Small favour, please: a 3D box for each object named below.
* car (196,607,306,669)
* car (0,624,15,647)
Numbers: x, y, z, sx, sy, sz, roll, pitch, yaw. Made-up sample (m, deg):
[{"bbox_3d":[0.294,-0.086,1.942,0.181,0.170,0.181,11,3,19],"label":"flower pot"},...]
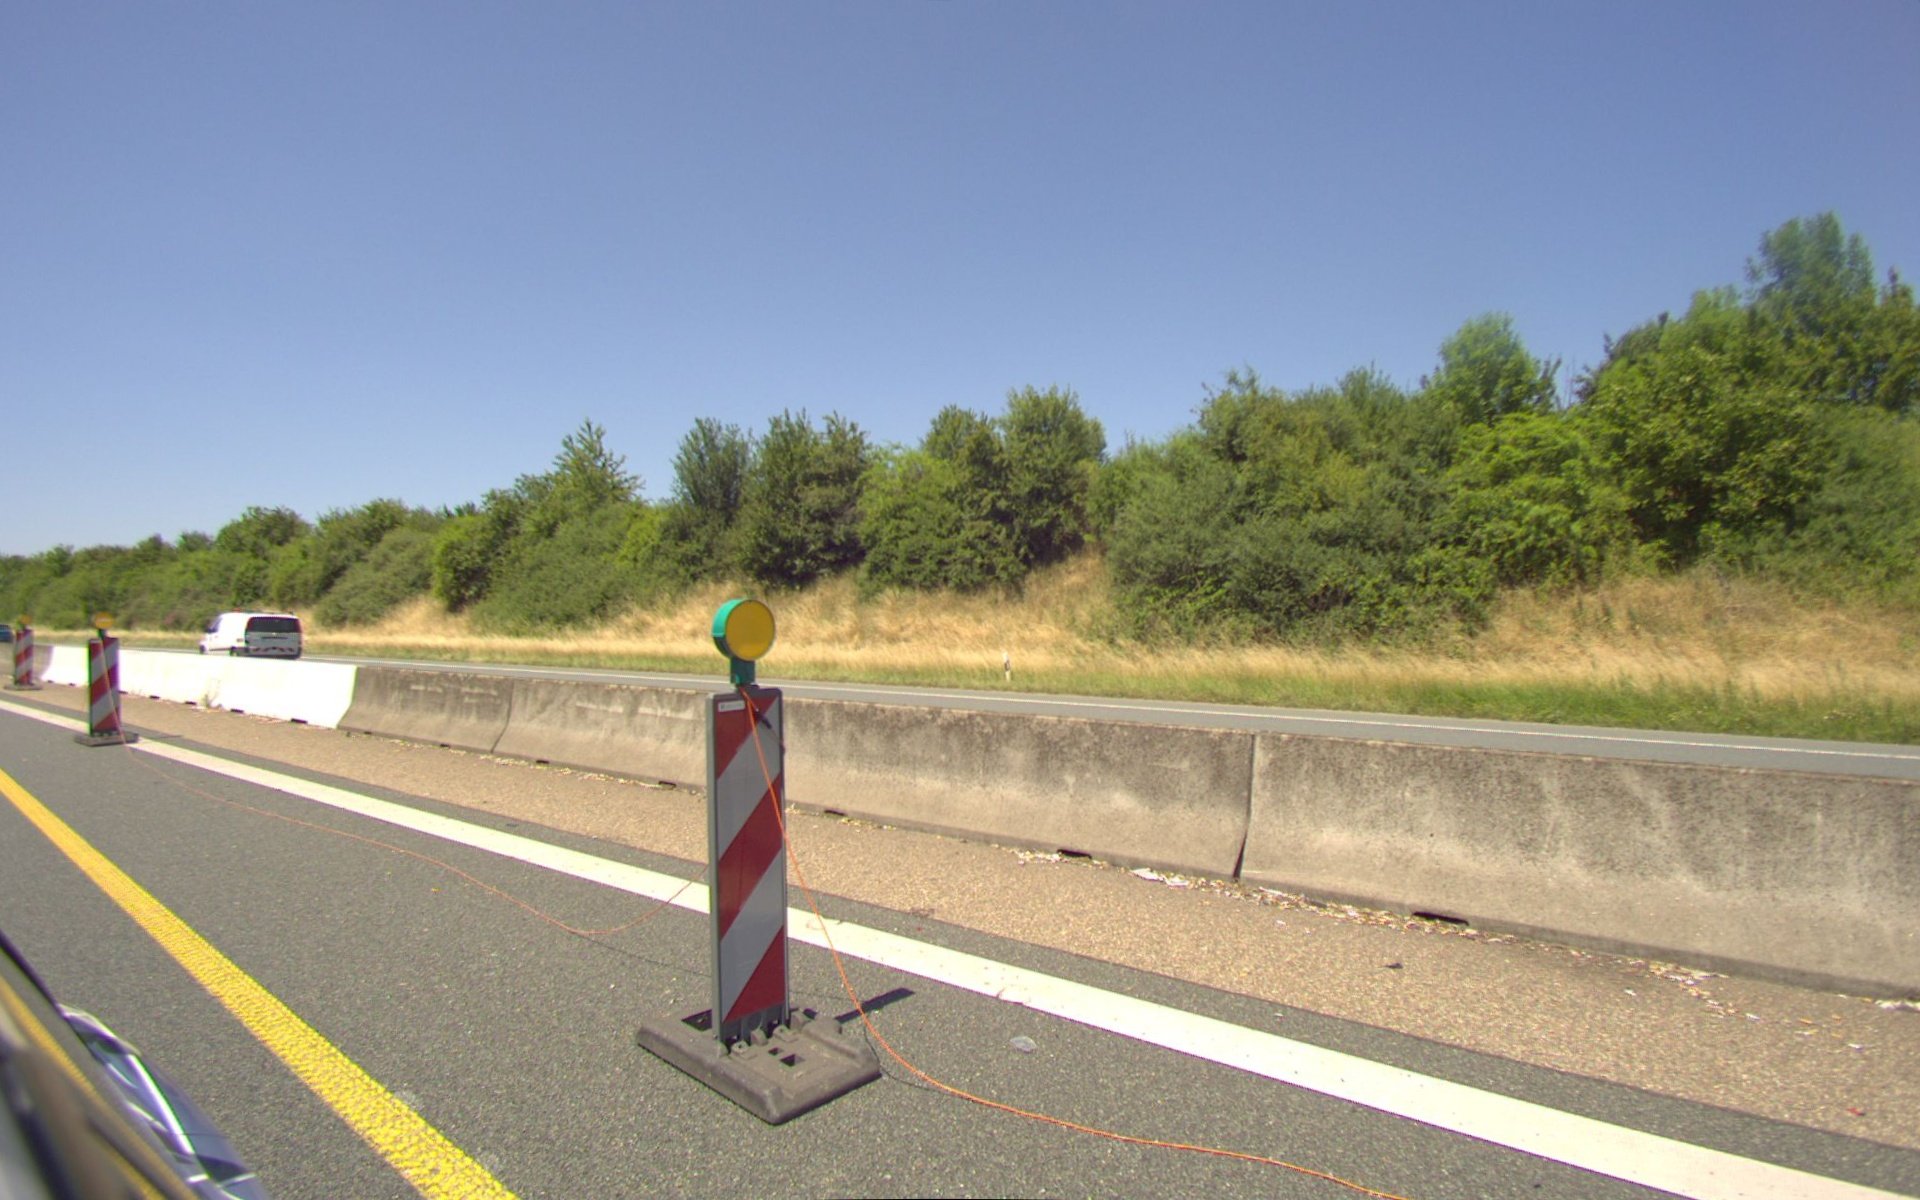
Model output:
[{"bbox_3d":[-25.545,1.324,36.403,4.933,2.101,1.944,-1,-2,39],"label":"car"},{"bbox_3d":[-64.897,2.388,67.646,3.473,1.529,1.872,-2,-2,36],"label":"car"}]
